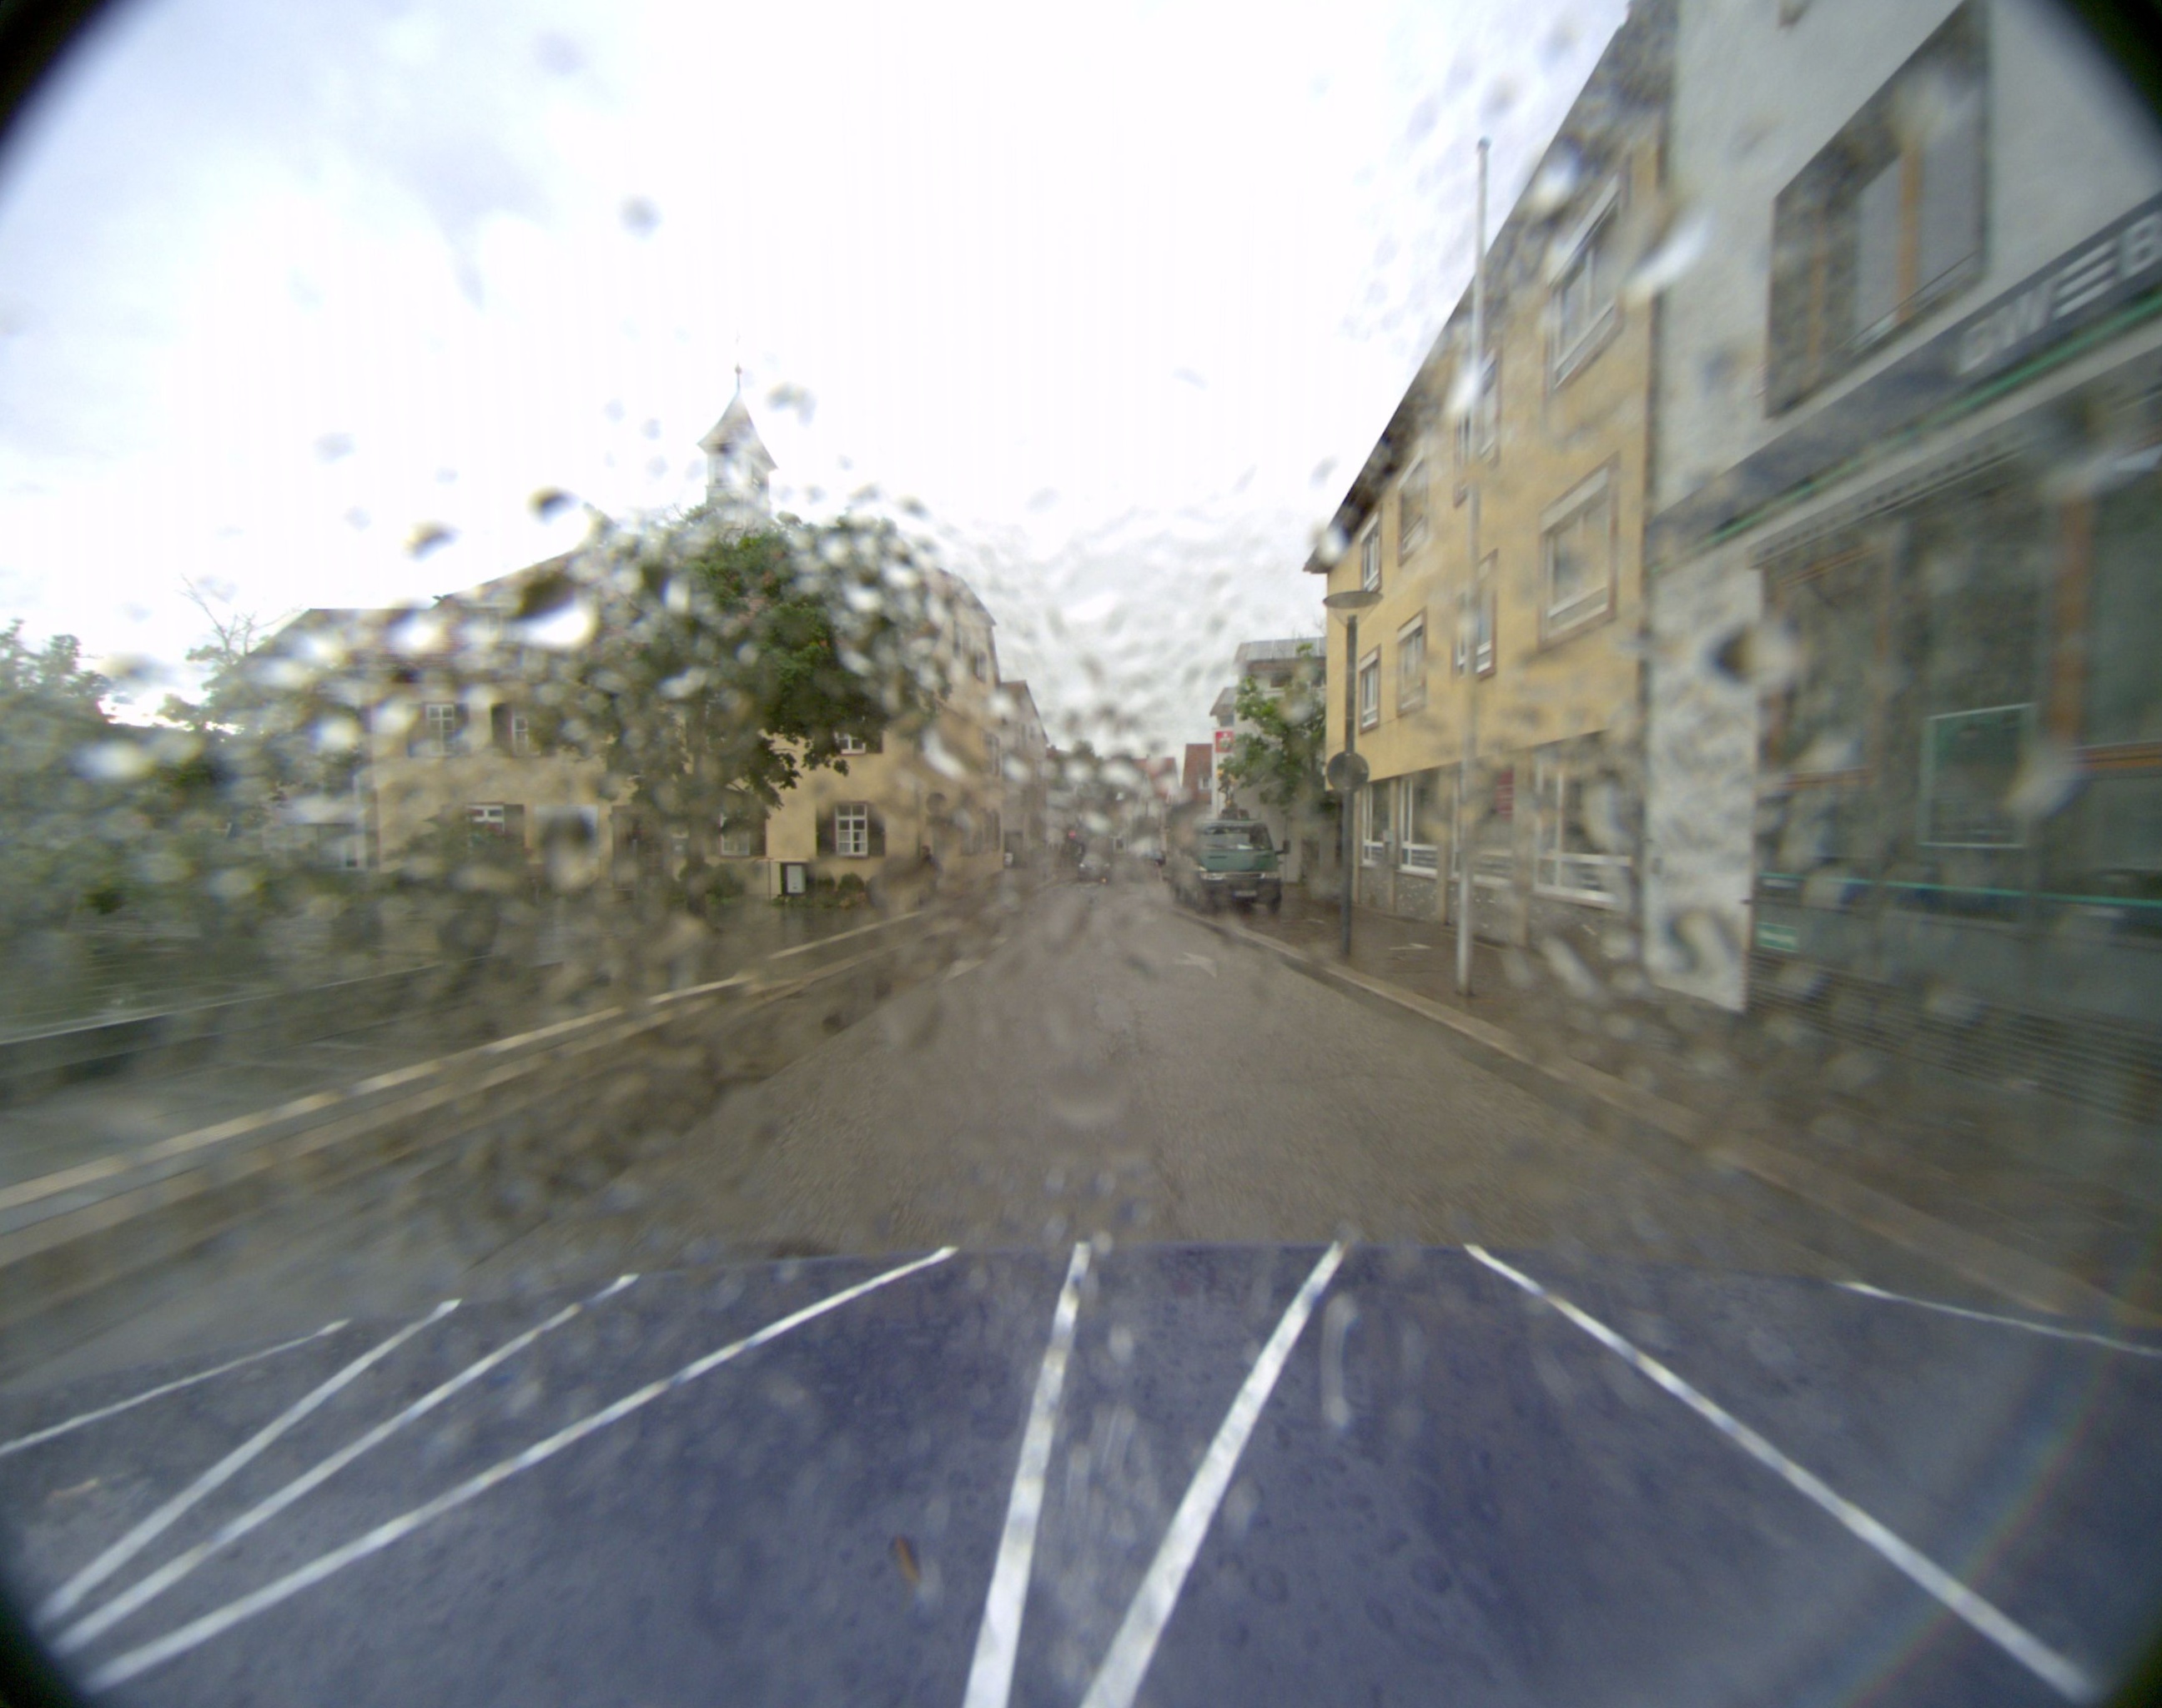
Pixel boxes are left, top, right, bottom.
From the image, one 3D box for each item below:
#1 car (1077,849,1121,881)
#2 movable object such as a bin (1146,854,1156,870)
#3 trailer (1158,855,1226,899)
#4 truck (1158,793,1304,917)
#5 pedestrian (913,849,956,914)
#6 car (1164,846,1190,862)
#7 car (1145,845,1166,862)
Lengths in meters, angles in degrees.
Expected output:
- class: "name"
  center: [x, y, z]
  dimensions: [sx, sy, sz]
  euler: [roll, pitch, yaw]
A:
- class: "car"
  center: [0.976, 0.545, 38.768]
  dimensions: [1.735, 1.546, 3.848]
  euler: [1, 0, 9]
- class: "movable object such as a bin"
  center: [4.790, 0.525, 52.202]
  dimensions: [0.660, 1.090, 0.613]
  euler: [1, 2, 6]
- class: "trailer"
  center: [3.623, 0.721, 25.220]
  dimensions: [1.732, 1.339, 3.160]
  euler: [1, 0, -1]
- class: "truck"
  center: [3.709, 0.028, 20.381]
  dimensions: [2.480, 2.778, 6.598]
  euler: [1, 0, -1]
- class: "pedestrian"
  center: [-3.862, 0.703, 20.074]
  dimensions: [0.869, 1.683, 0.714]
  euler: [0, 1, -40]
- class: "car"
  center: [10.233, -0.030, 80.606]
  dimensions: [1.996, 1.520, 4.005]
  euler: [-2, 1, 18]
- class: "car"
  center: [6.719, -0.053, 68.944]
  dimensions: [1.693, 1.477, 4.000]
  euler: [1, 1, 4]
